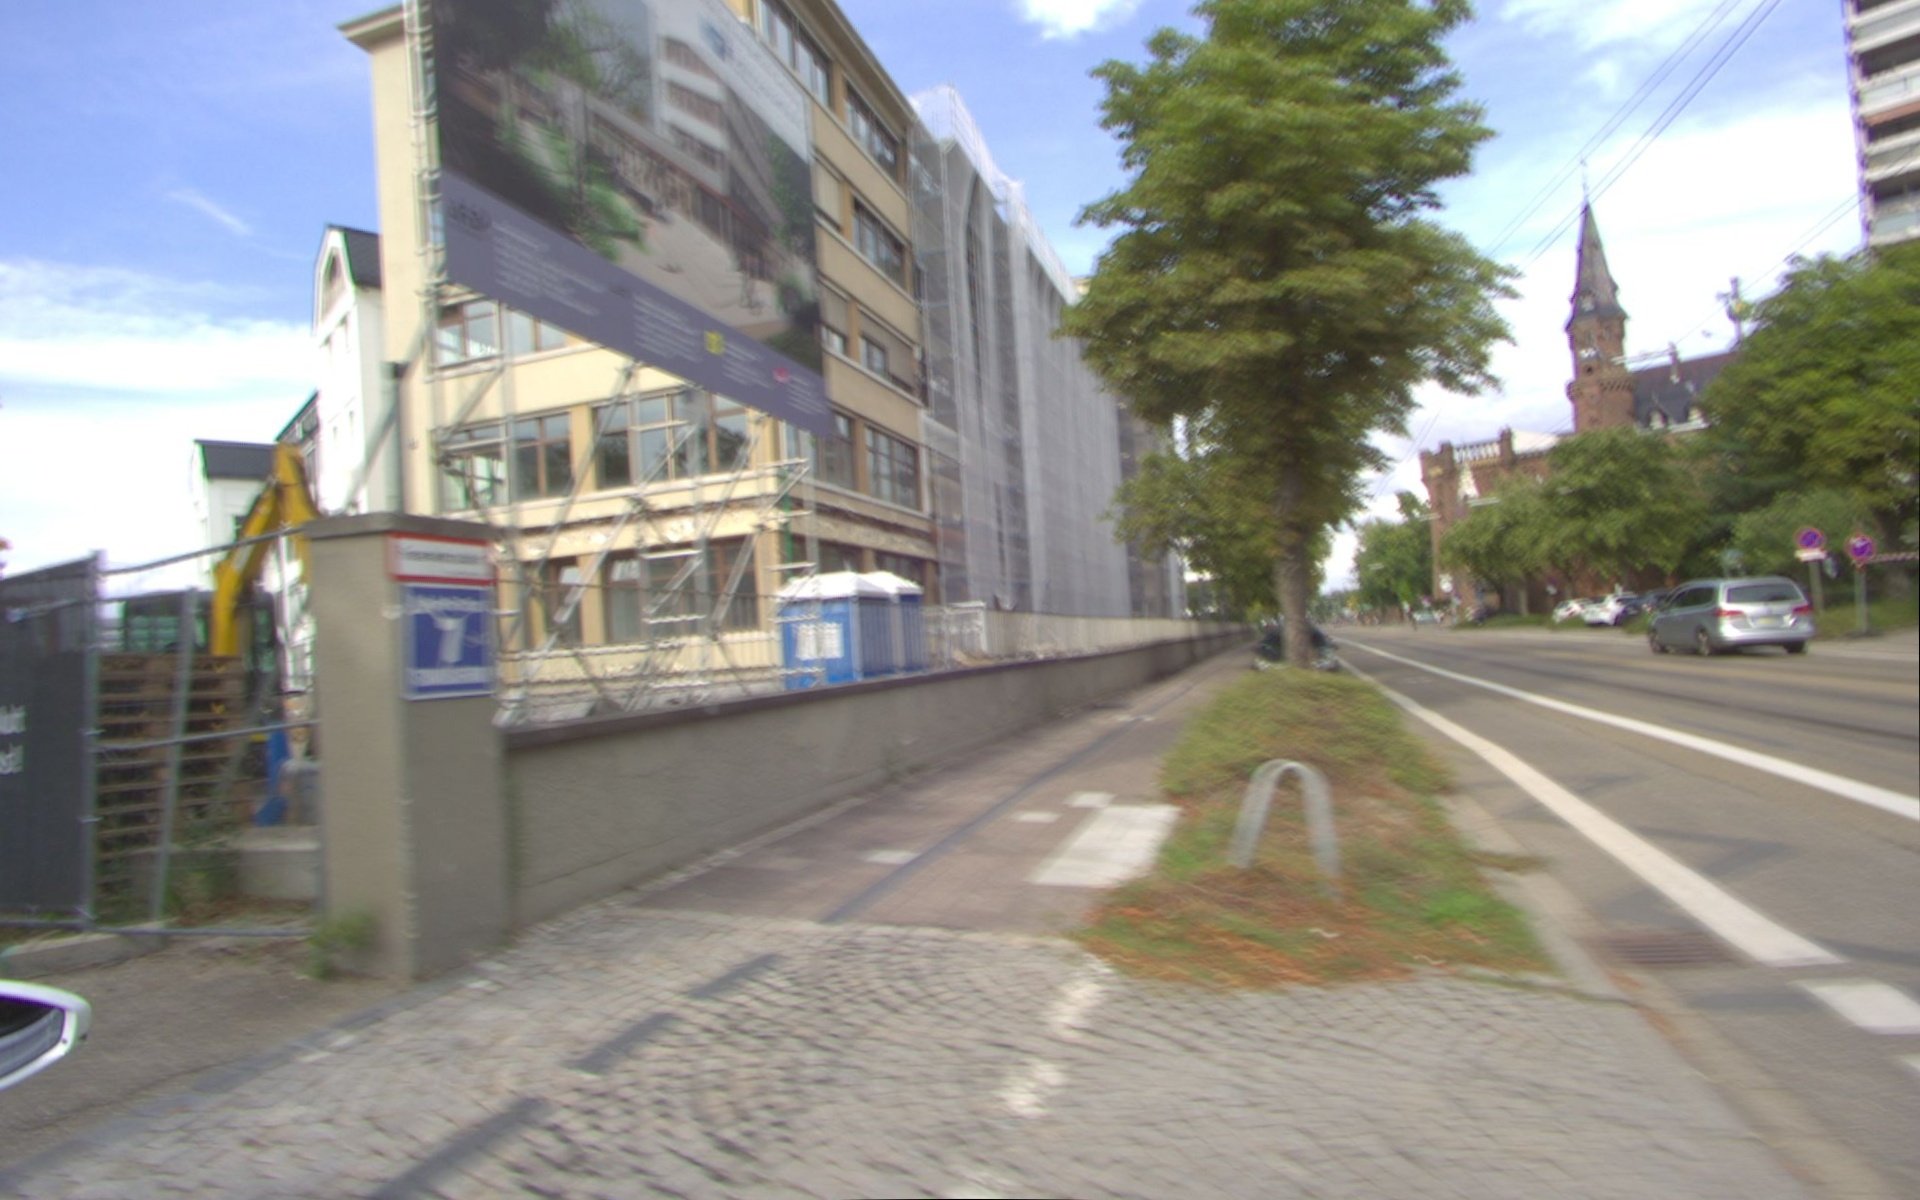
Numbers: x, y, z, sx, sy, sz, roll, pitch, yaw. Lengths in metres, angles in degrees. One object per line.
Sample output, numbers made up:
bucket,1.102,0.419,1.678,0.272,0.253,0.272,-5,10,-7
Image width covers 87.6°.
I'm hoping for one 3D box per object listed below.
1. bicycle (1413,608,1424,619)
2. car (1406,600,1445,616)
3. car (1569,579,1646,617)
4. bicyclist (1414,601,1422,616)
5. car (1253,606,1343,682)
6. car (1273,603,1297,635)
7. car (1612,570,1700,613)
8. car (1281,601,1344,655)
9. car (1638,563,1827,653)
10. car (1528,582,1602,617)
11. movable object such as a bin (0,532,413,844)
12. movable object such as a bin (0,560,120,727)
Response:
bicycle,45.729,1.341,99.906,0.584,1.056,1.975,-4,-2,16
car,57.319,0.982,123.362,3.927,1.714,1.999,-5,-2,13
car,33.034,-0.105,51.086,3.590,1.622,1.676,-3,-2,-28
bicyclist,45.697,0.827,99.913,0.584,1.478,0.874,-4,-1,16
car,7.233,0.911,21.735,1.567,1.420,3.958,-4,-2,16
car,29.860,1.777,92.171,1.695,2.738,5.464,-4,-2,16
car,31.098,-0.392,44.715,3.590,1.622,1.676,-3,-2,-28
car,11.078,0.868,31.627,1.612,1.515,3.957,-4,-2,17
car,17.540,0.202,23.037,1.786,1.722,4.611,-4,-2,16
car,32.363,-0.037,53.564,3.590,1.622,1.676,-3,-2,-28
movable object such as a bin,-7.501,0.826,9.765,3.016,2.473,2.487,-5,-2,28
movable object such as a bin,-42.469,2.205,45.022,3.792,6.752,10.965,-3,-2,-22
